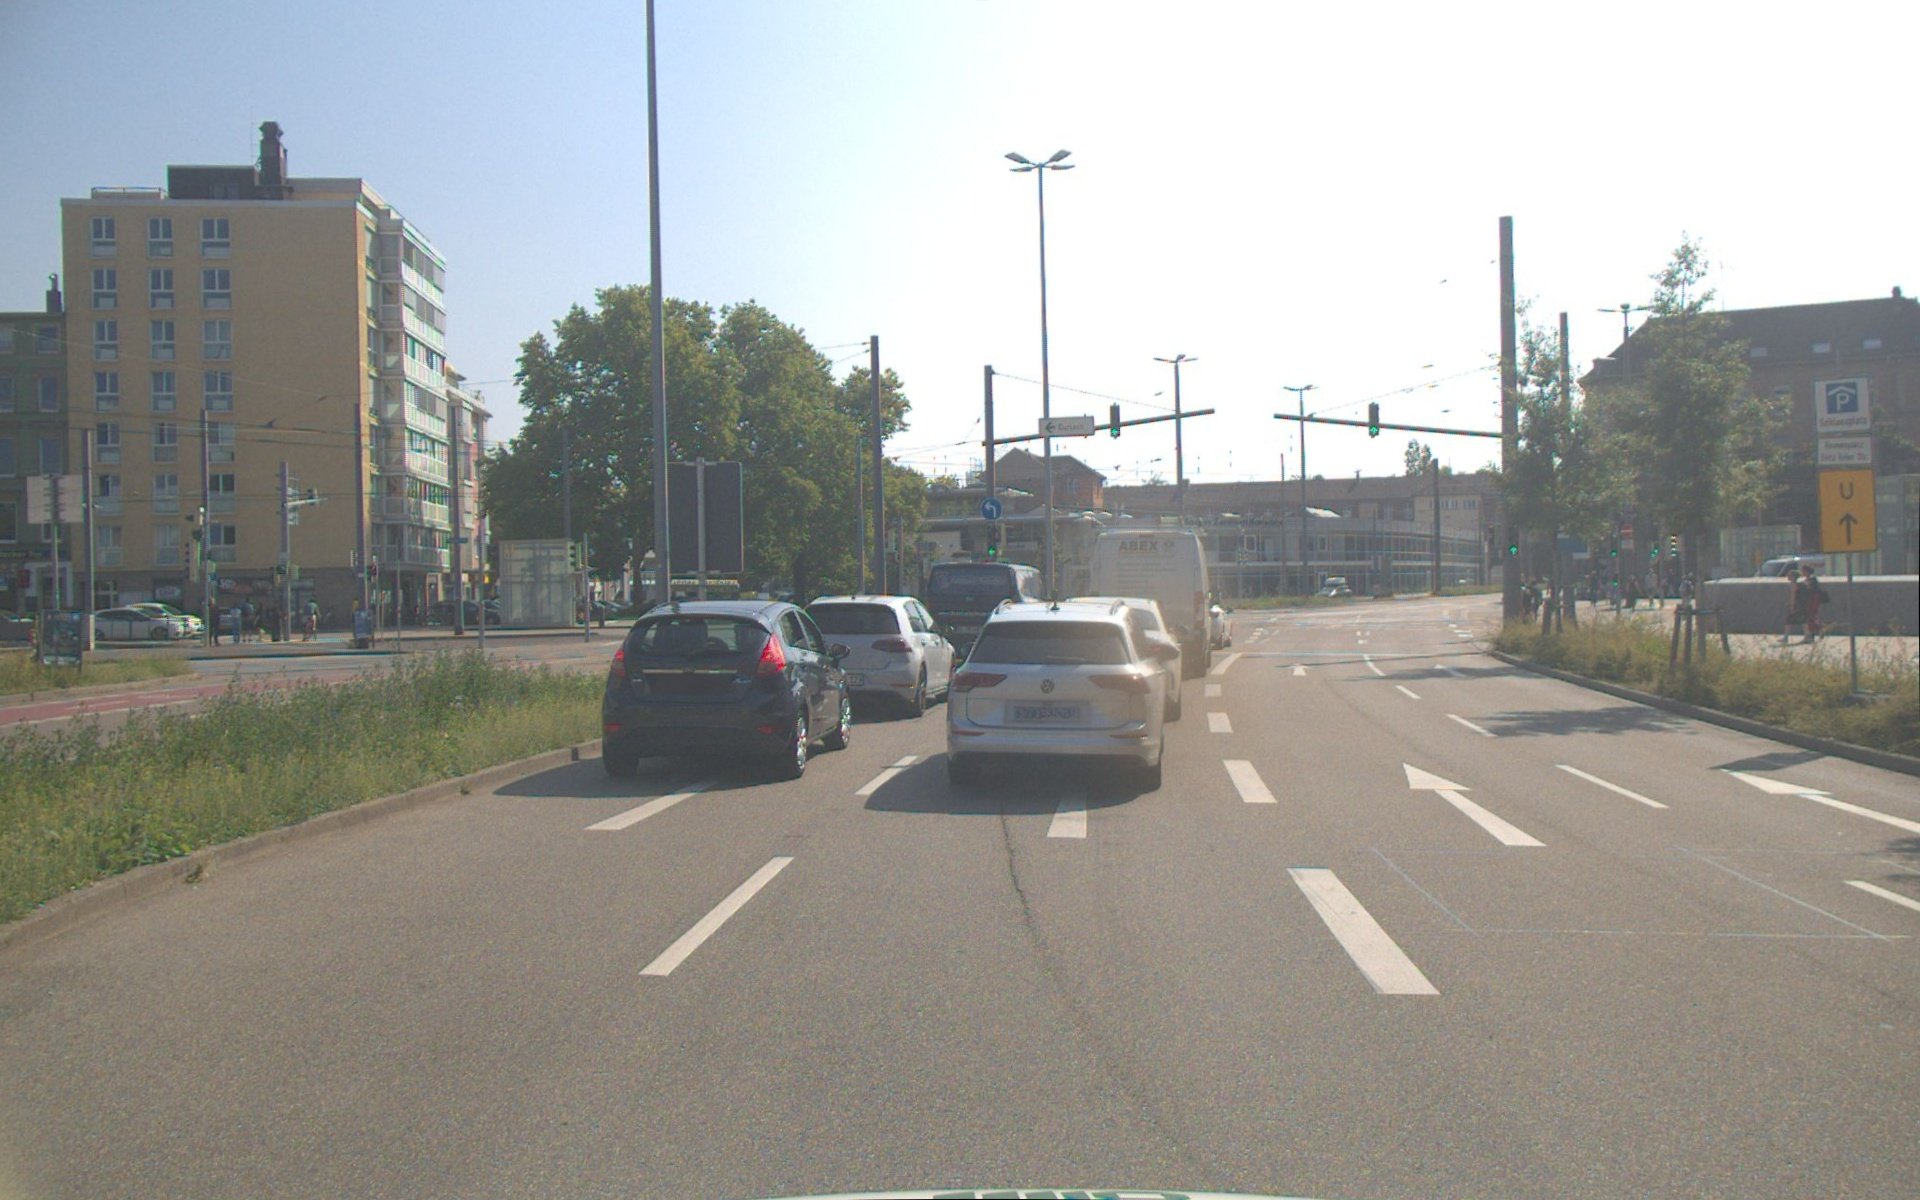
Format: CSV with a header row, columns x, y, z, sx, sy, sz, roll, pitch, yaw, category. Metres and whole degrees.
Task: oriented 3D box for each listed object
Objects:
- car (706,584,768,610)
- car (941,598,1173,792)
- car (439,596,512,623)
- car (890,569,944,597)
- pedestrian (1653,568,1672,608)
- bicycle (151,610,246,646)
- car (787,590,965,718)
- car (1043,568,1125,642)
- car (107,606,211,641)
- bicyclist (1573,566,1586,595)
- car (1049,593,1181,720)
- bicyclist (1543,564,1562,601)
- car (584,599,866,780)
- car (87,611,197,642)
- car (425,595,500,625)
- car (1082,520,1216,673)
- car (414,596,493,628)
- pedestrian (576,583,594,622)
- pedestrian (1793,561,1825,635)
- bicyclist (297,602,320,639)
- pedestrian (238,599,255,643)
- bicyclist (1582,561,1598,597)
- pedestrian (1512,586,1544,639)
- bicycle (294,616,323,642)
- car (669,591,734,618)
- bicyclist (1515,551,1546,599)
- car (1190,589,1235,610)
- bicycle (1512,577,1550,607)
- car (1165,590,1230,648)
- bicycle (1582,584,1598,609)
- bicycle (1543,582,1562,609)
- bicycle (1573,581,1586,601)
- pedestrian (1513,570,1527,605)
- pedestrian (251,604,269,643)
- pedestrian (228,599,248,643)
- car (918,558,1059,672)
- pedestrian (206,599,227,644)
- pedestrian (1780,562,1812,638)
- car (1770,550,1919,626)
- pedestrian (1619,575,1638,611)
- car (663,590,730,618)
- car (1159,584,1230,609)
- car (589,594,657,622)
x,y,z,sx,sy,sz,roll,pitch,yaw,category
-14.566,-0.215,108.058,3.910,1.585,1.726,-1,0,-6,car
0.939,0.707,13.982,1.649,1.412,3.637,-1,0,8,car
-29.315,0.563,100.147,3.910,1.585,1.867,-1,0,-6,car
-3.259,-1.301,127.147,3.902,2.048,2.002,-1,3,5,car
33.874,-0.584,79.784,0.787,1.921,0.749,-1,0,21,pedestrian
-36.472,1.330,79.285,3.911,1.578,1.194,-1,3,-7,bicycle
-0.985,0.627,21.052,1.457,1.440,3.651,-1,1,10,car
3.668,0.128,48.206,1.980,2.043,4.688,-1,0,9,car
-34.587,0.993,71.456,3.664,1.417,1.585,-1,0,-5,car
39.559,-1.247,105.659,0.731,1.861,0.807,-1,0,21,bicyclist
2.019,0.650,20.757,1.457,1.427,3.945,-1,0,8,car
25.072,-0.752,69.952,0.698,1.556,0.807,-1,0,21,bicyclist
-1.962,0.704,14.955,1.665,1.392,3.966,-1,0,5,car
-33.697,1.105,68.193,3.752,1.200,1.575,-1,-2,-2,car
-28.999,0.568,96.524,3.864,1.584,1.793,-1,3,-5,car
3.578,-0.043,30.601,2.142,2.594,4.687,-1,0,10,car
-28.608,0.670,93.518,3.909,1.584,1.868,-1,3,-5,car
-19.991,0.113,88.255,0.805,2.049,0.509,-1,0,-3,pedestrian
19.110,-0.046,37.214,0.603,1.657,0.533,-1,0,28,pedestrian
-26.025,0.812,66.064,0.712,1.459,0.688,-1,0,-9,bicyclist
-28.546,0.846,66.142,0.452,1.714,0.433,-3,3,-44,pedestrian
31.830,-1.054,83.550,0.731,1.817,1.114,-1,0,21,bicyclist
14.993,0.327,43.666,0.622,1.386,0.634,-1,0,4,pedestrian
-26.032,1.154,66.122,0.714,1.001,1.728,-1,0,-9,bicycle
-16.494,0.274,105.702,3.906,1.646,1.813,-1,0,-2,car
19.247,-0.848,55.804,0.755,1.606,0.991,-1,0,7,bicyclist
19.139,-0.023,125.157,1.957,1.467,3.991,-1,0,31,car
19.256,-0.256,55.791,0.755,0.993,2.151,-1,0,7,bicycle
6.256,0.473,43.279,1.602,1.428,3.690,-1,0,9,car
31.837,-0.186,83.562,0.731,1.168,2.867,-1,0,21,bicycle
25.089,-0.203,69.975,0.691,1.080,1.982,-1,0,21,bicycle
39.592,-0.574,105.686,0.724,1.239,2.246,-1,0,21,bicycle
32.846,-0.749,97.003,0.731,2.049,0.807,-1,0,21,pedestrian
-28.145,0.949,66.507,0.495,1.513,0.433,-3,3,-44,pedestrian
-28.356,0.815,64.990,0.445,1.714,0.548,-1,3,7,pedestrian
0.649,0.266,32.368,1.980,2.043,4.688,-1,0,11,car
-29.033,0.825,64.571,0.445,1.714,0.547,0,3,19,pedestrian
18.582,-0.008,36.751,0.603,1.667,0.533,-1,0,28,pedestrian
25.636,-0.374,47.613,3.916,2.048,1.749,-1,3,-12,car
29.654,-0.309,73.383,0.731,1.556,0.807,-1,0,21,pedestrian
-16.517,0.265,103.711,3.906,1.646,1.813,-1,0,-2,car
13.550,-0.213,95.896,3.883,1.366,1.931,-1,0,2,car
-20.653,0.474,101.438,3.910,1.585,1.726,-1,0,-6,car
